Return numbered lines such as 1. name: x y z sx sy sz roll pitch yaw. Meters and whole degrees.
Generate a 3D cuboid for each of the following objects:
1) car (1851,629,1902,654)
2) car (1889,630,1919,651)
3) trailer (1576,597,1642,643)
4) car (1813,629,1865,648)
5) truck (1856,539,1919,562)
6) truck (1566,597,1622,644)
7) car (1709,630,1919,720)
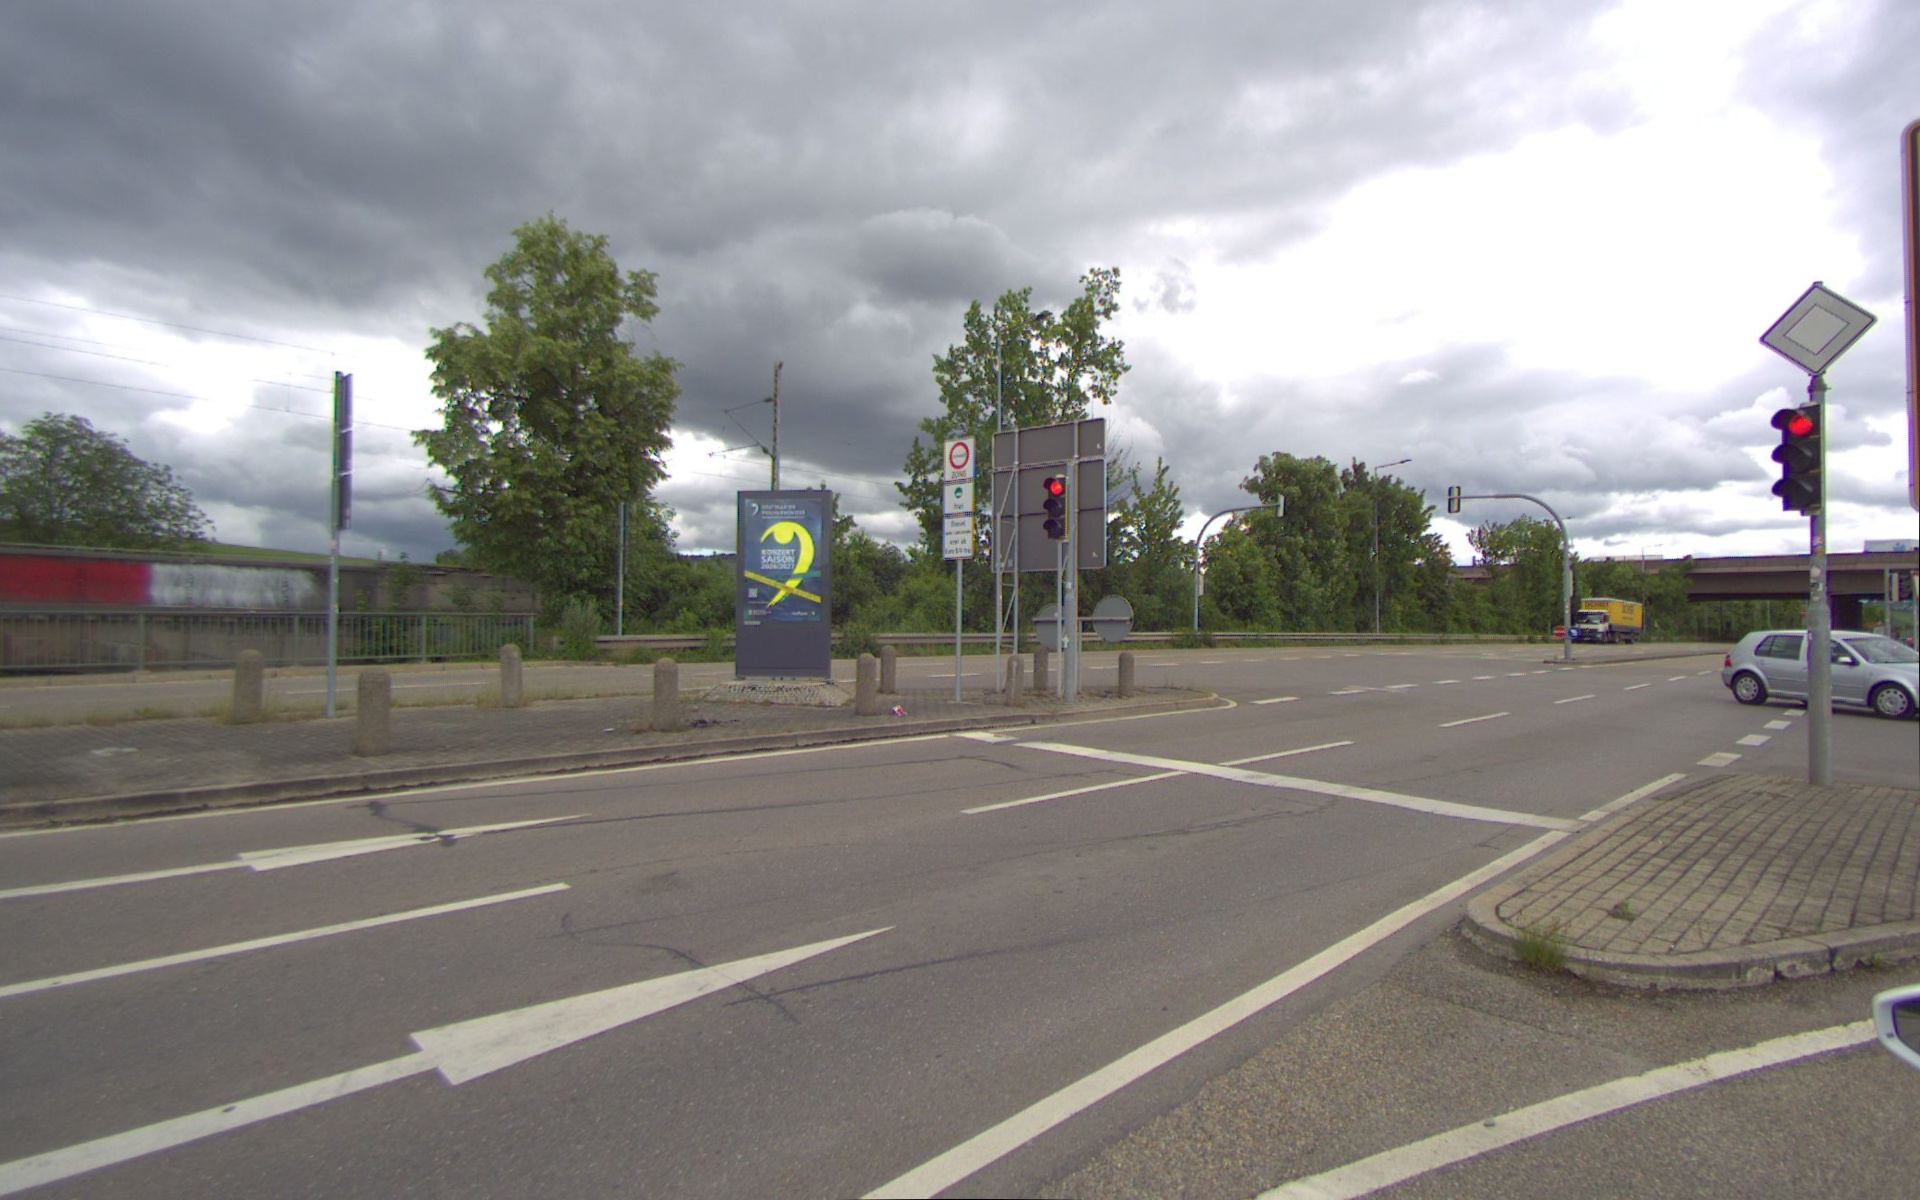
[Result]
1. car: 60.755 2.769 66.569 4.077 1.461 1.977 4 -2 -40
2. car: 76.319 3.266 80.923 4.084 1.483 1.973 4 -2 -45
3. trailer: 62.743 1.938 97.010 11.351 4.139 2.843 1 1 -45
4. car: 100.195 4.350 114.517 1.969 1.885 3.982 2 2 -19
5. truck: 106.748 -5.626 115.627 1.972 2.352 5.046 1 0 -24
6. truck: 58.862 1.845 93.197 6.444 4.139 2.843 1 1 -45
7. car: 16.038 1.265 18.069 1.699 1.419 4.059 0 -1 -10
